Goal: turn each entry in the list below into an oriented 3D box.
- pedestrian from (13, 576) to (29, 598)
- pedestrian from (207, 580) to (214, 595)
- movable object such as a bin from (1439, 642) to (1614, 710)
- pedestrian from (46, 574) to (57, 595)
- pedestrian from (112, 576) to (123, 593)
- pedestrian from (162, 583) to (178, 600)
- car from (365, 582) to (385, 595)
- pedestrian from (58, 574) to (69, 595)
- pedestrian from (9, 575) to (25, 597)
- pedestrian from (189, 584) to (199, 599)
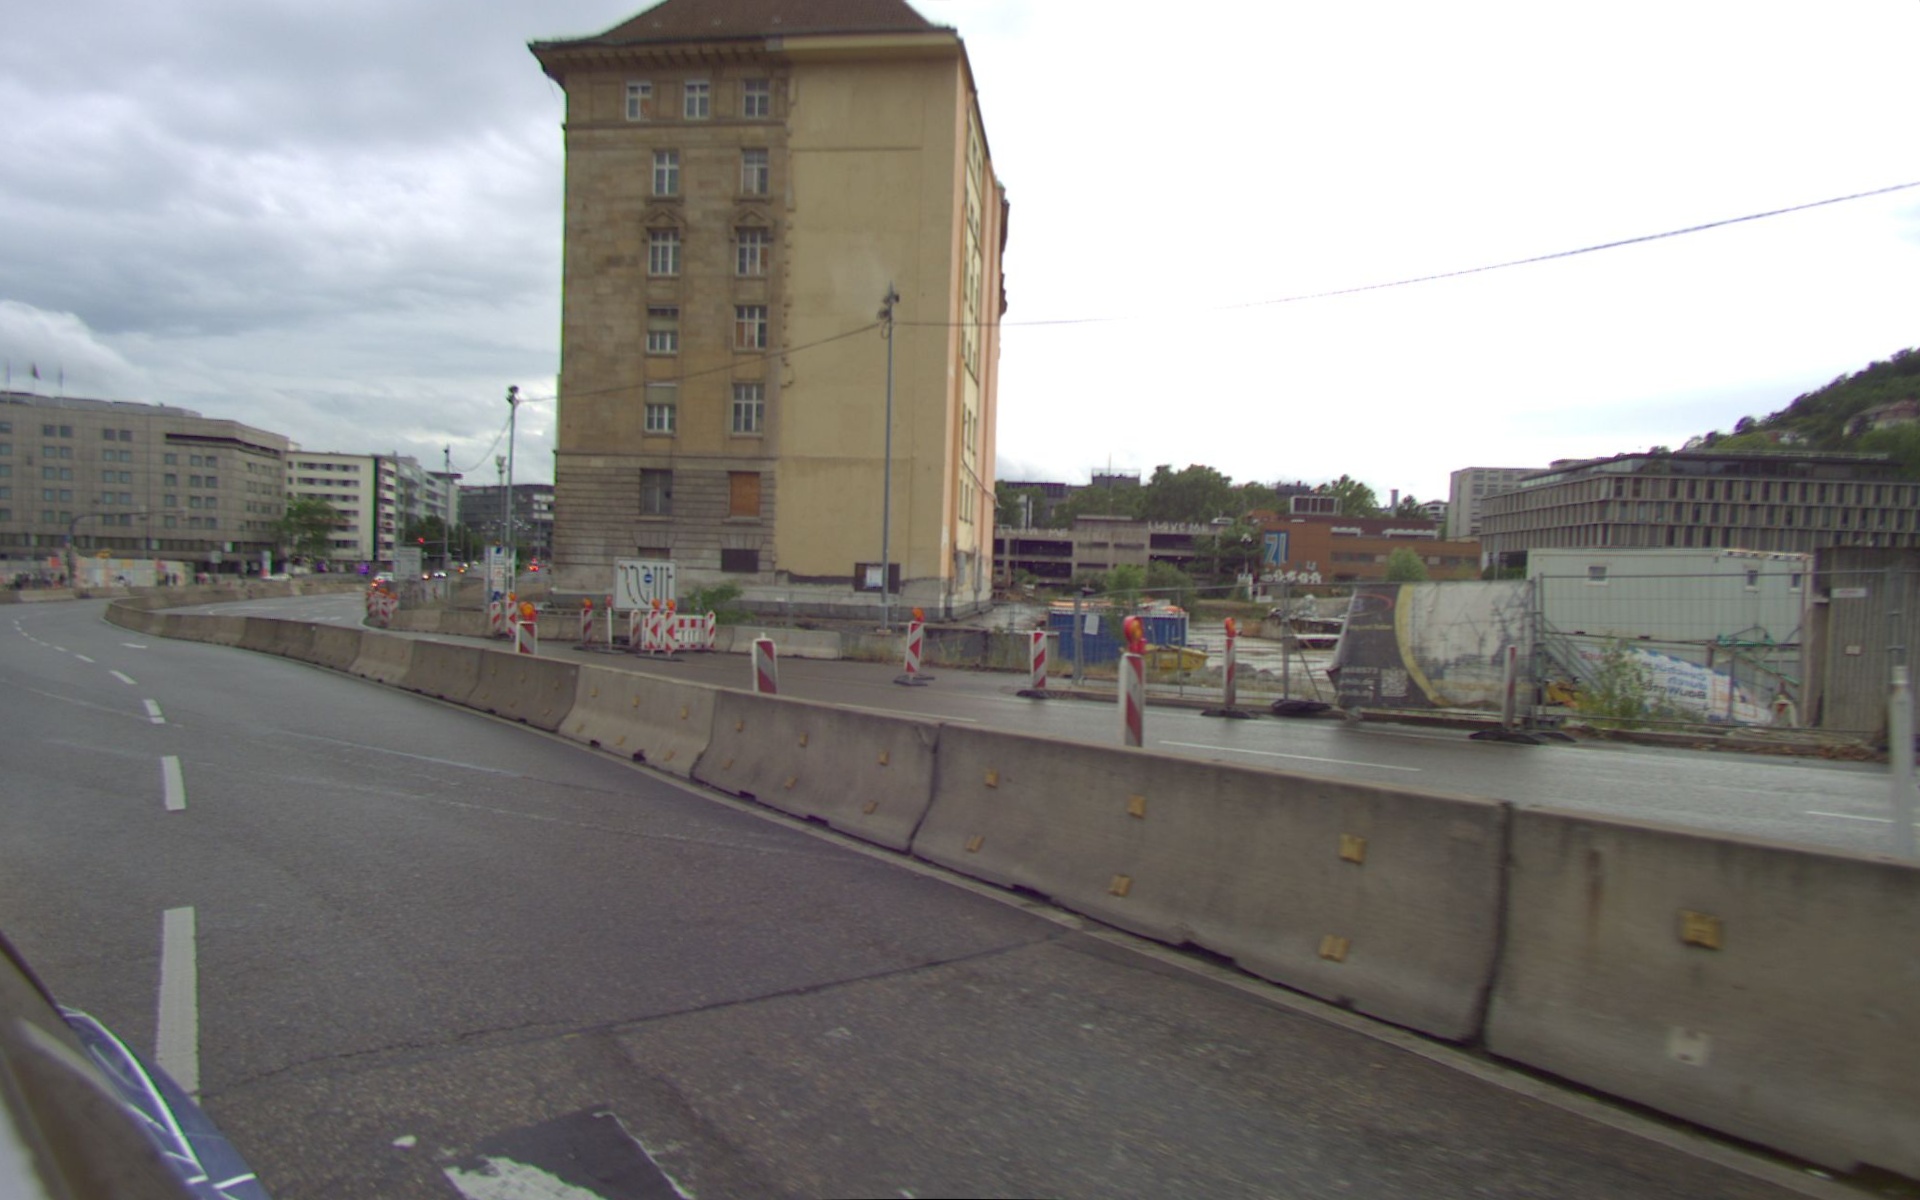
[{"bbox_3d":[-76.214,-1.042,82.139,0.644,1.703,0.778,3,0,-21],"label":"pedestrian"},{"bbox_3d":[-91.324,-1.488,123.299,0.643,1.774,0.550,3,0,-34],"label":"pedestrian"},{"bbox_3d":[17.641,2.307,31.721,1.708,1.689,4.458,1,1,-36],"label":"movable object such as a bin"},{"bbox_3d":[-77.442,-1.305,86.283,0.576,1.721,0.679,3,0,-34],"label":"pedestrian"},{"bbox_3d":[-82.934,-1.534,99.609,0.638,1.682,0.768,3,0,-34],"label":"pedestrian"},{"bbox_3d":[-88.737,-0.952,113.641,1.081,1.774,0.909,3,0,-18],"label":"pedestrian"},{"bbox_3d":[-71.268,-1.445,123.249,1.741,1.532,4.402,1,1,-26],"label":"car"},{"bbox_3d":[-78.866,-1.354,89.021,0.638,1.774,0.585,3,0,-34],"label":"pedestrian"},{"bbox_3d":[-74.307,-1.075,79.738,0.644,1.703,0.778,3,0,-21],"label":"pedestrian"},{"bbox_3d":[-88.285,-0.985,116.629,0.744,1.774,0.768,3,0,-34],"label":"pedestrian"}]
